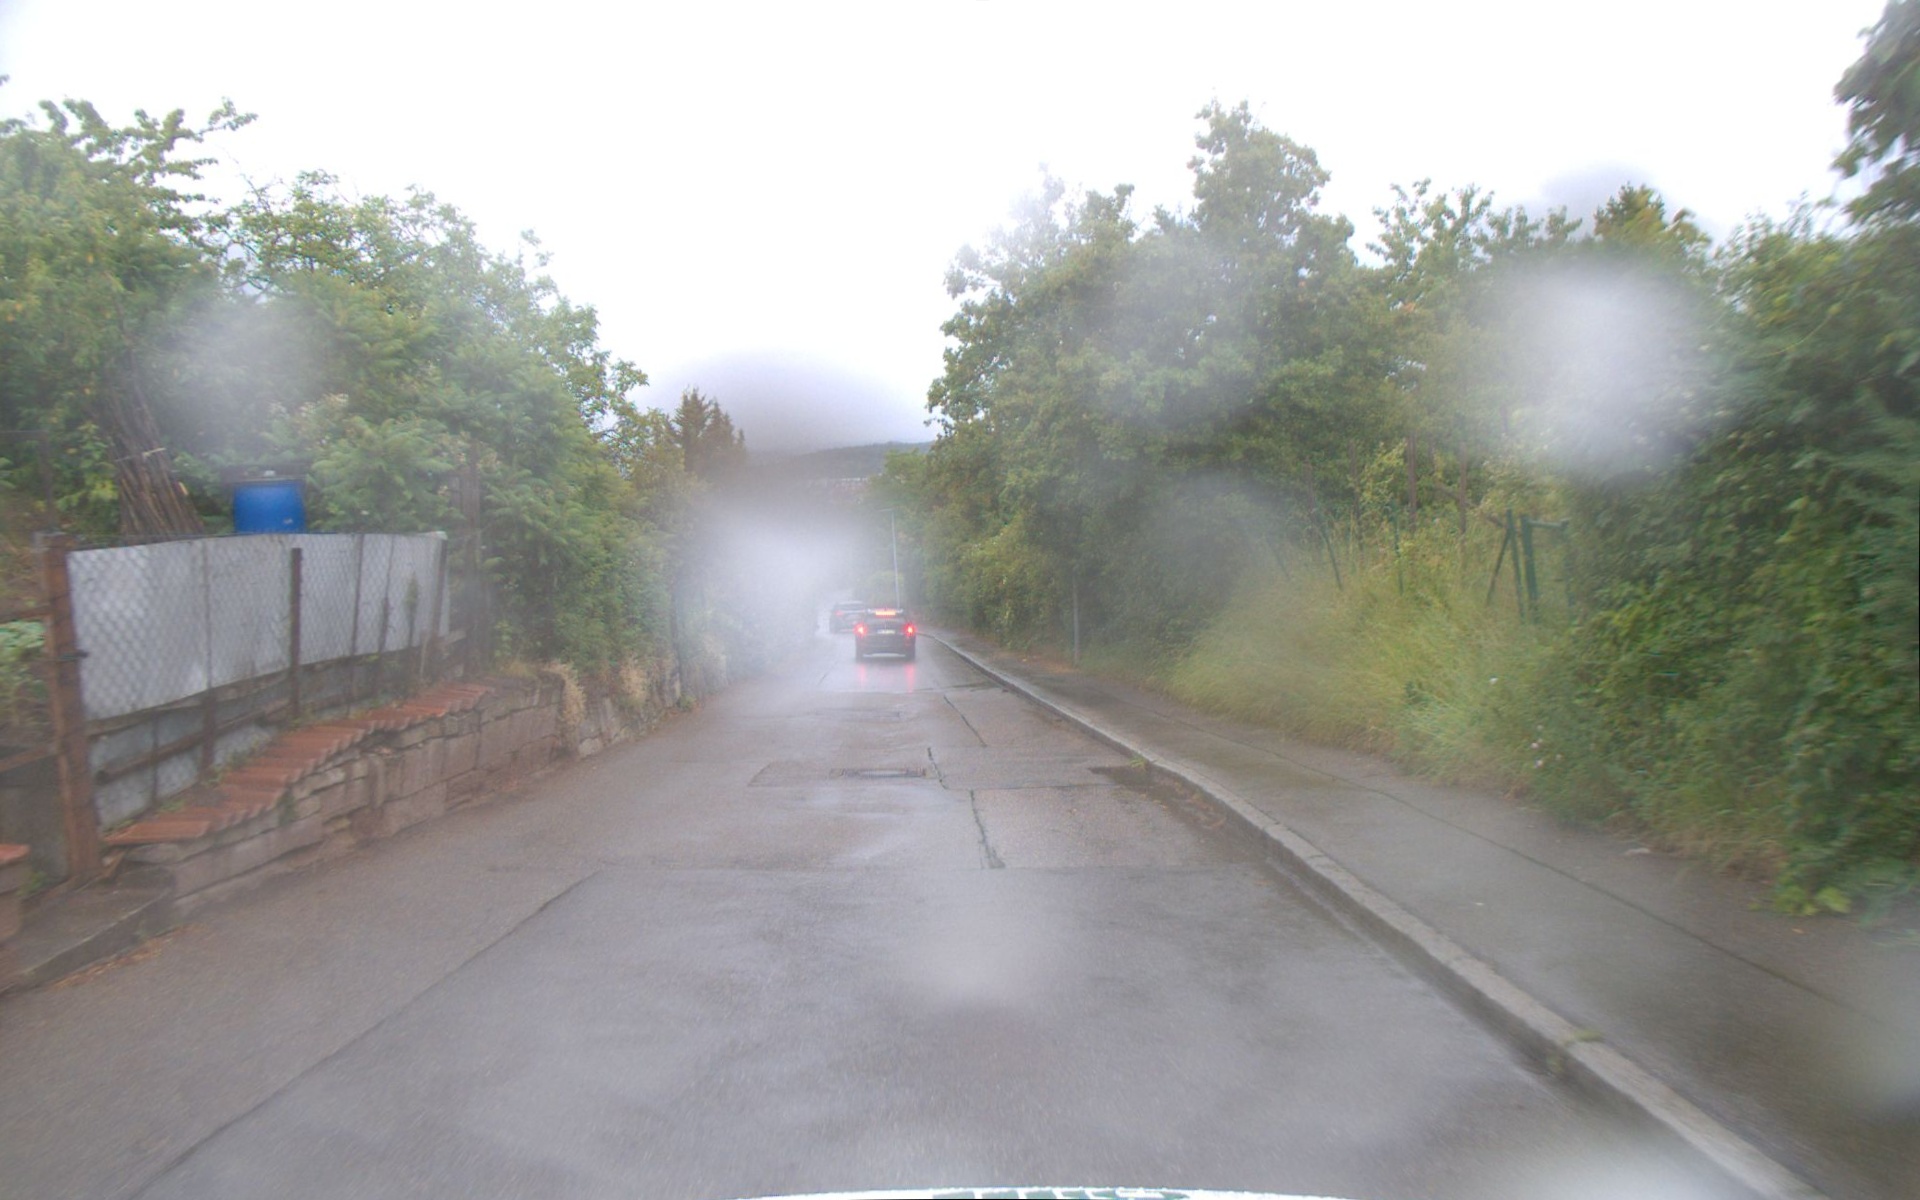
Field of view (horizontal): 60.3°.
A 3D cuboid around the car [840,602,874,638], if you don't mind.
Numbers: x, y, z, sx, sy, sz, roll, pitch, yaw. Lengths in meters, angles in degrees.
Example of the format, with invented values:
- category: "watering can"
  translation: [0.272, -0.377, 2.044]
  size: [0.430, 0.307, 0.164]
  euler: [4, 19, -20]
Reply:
- category: "car"
  translation: [-5.145, 0.972, 82.593]
  size: [1.645, 1.592, 3.792]
  euler: [-1, 2, -4]

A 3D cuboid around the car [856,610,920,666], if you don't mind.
- category: "car"
  translation: [-2.137, 1.075, 48.624]
  size: [1.798, 1.489, 3.998]
  euler: [0, 1, -3]
